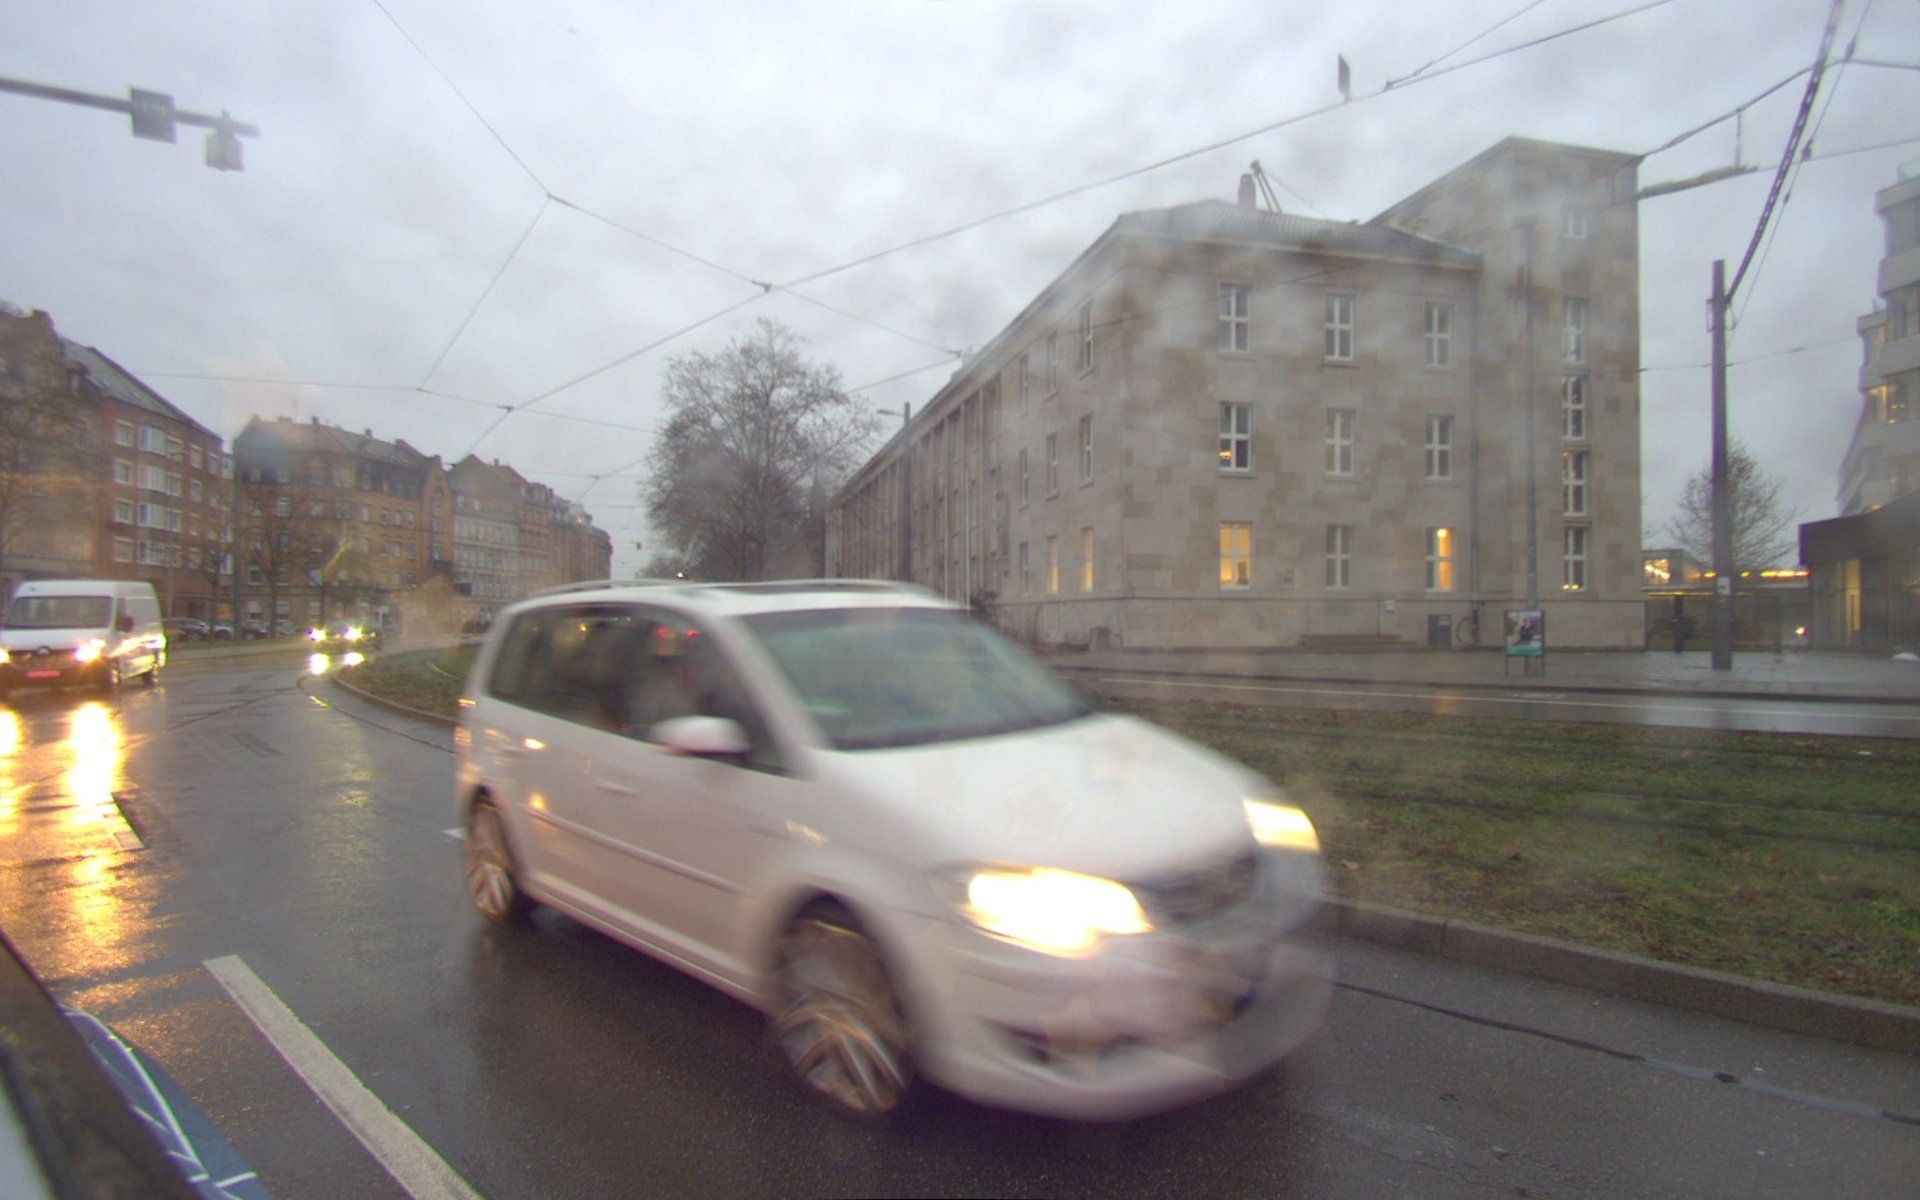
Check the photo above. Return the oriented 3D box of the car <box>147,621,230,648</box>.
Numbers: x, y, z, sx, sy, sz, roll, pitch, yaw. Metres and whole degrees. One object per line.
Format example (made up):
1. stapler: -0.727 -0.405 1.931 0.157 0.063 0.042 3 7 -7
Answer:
1. car: -43.910 1.924 57.662 3.706 1.364 1.605 -2 0 -39

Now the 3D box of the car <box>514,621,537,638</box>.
1. car: -44.318 3.013 103.275 1.694 1.630 3.950 0 -2 -17

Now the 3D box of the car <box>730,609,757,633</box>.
1. car: -13.259 1.251 61.819 1.535 1.439 2.963 0 0 -14

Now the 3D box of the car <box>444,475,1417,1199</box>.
1. car: -0.547 0.593 4.253 1.651 1.672 4.150 -2 0 -45

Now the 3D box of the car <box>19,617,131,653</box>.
1. car: -40.873 1.601 46.805 3.816 1.416 1.696 -2 0 -43

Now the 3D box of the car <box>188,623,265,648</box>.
1. car: -44.646 2.143 61.650 3.706 1.364 1.605 -2 0 -39

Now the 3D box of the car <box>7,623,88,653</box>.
1. car: -52.218 2.165 58.028 1.666 1.554 4.010 -2 0 -12

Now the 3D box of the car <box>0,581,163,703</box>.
1. car: -19.800 0.878 22.698 2.094 2.398 5.656 -1 -1 -29

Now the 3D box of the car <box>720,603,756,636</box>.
1. car: -14.584 1.252 66.332 1.966 2.029 4.522 -2 0 -15

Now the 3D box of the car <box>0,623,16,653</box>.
1. car: -50.589 1.947 51.824 1.449 1.555 3.881 0 -2 -12

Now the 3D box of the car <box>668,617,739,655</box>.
1. car: -10.674 1.447 41.871 1.634 1.411 4.537 -2 0 -30

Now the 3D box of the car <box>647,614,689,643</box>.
1. car: -16.381 1.550 56.620 1.795 1.446 4.670 -2 0 -21

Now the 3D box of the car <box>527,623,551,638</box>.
1. car: -40.187 2.940 96.765 1.865 1.424 3.959 0 -2 -19
